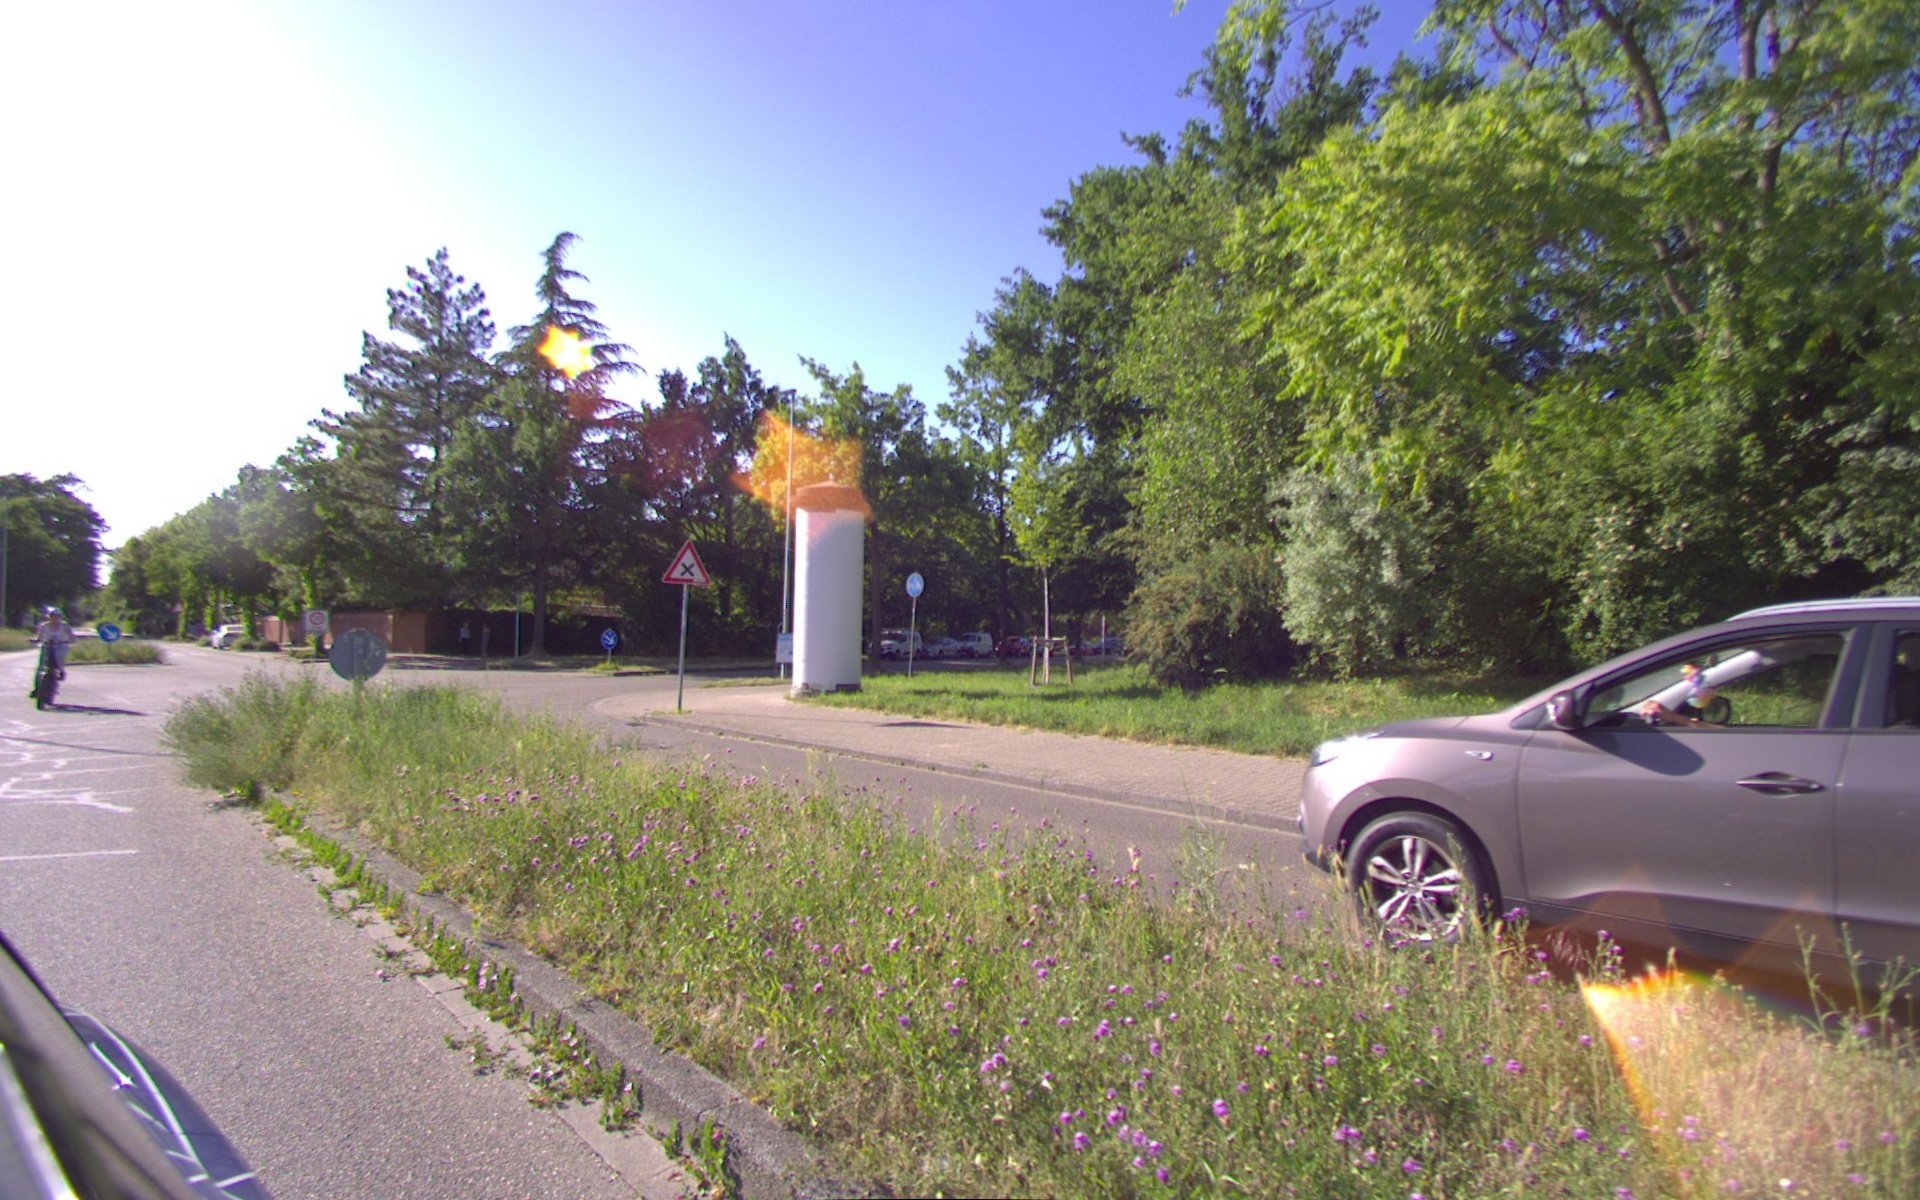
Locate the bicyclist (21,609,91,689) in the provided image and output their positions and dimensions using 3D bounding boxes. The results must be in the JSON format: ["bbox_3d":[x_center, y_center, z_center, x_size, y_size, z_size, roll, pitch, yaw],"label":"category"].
[{"bbox_3d":[-15.684,0.840,17.576,0.627,1.357,0.841,2,-2,-24],"label":"bicyclist"}]

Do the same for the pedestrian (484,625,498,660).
[{"bbox_3d":[-21.531,1.963,46.448,0.390,1.573,0.539,3,-2,-39],"label":"pedestrian"}]

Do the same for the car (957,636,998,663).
[{"bbox_3d":[1.233,3.411,69.833,1.492,1.768,3.770,-1,-3,25],"label":"car"}]

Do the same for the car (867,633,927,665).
[{"bbox_3d":[-3.656,2.856,59.569,1.743,1.762,4.599,-1,-2,22],"label":"car"}]

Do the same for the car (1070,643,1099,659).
[{"bbox_3d":[11.254,4.598,91.476,1.493,1.369,3.435,-1,-3,27],"label":"car"}]

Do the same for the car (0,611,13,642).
[{"bbox_3d":[-56.335,1.476,57.298,1.730,1.730,3.636,1,-2,12],"label":"car"}]

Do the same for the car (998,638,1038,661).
[{"bbox_3d":[4.379,3.732,76.259,1.763,1.651,3.721,-1,-3,25],"label":"car"}]

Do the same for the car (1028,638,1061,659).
[{"bbox_3d":[6.842,3.938,81.524,1.492,1.651,3.721,-1,-3,25],"label":"car"}]

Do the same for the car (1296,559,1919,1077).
[{"bbox_3d":[3.777,0.772,4.178,1.888,1.718,4.194,4,-3,-38],"label":"car"}]

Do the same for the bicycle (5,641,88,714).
[{"bbox_3d":[-15.555,1.295,17.274,0.450,1.153,1.904,2,-3,-25],"label":"bicycle"}]

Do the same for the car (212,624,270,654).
[{"bbox_3d":[-42.516,2.267,59.812,4.000,1.671,1.972,-1,-2,43],"label":"car"}]

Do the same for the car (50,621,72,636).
[{"bbox_3d":[-114.432,3.654,128.799,1.969,1.829,4.005,3,-2,-41],"label":"car"}]

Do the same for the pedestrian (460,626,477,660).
[{"bbox_3d":[-22.373,1.935,46.087,0.394,1.532,0.534,0,-2,24],"label":"pedestrian"}]

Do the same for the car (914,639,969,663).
[{"bbox_3d":[-1.159,3.299,65.106,1.713,1.455,4.575,-2,-4,24],"label":"car"}]
